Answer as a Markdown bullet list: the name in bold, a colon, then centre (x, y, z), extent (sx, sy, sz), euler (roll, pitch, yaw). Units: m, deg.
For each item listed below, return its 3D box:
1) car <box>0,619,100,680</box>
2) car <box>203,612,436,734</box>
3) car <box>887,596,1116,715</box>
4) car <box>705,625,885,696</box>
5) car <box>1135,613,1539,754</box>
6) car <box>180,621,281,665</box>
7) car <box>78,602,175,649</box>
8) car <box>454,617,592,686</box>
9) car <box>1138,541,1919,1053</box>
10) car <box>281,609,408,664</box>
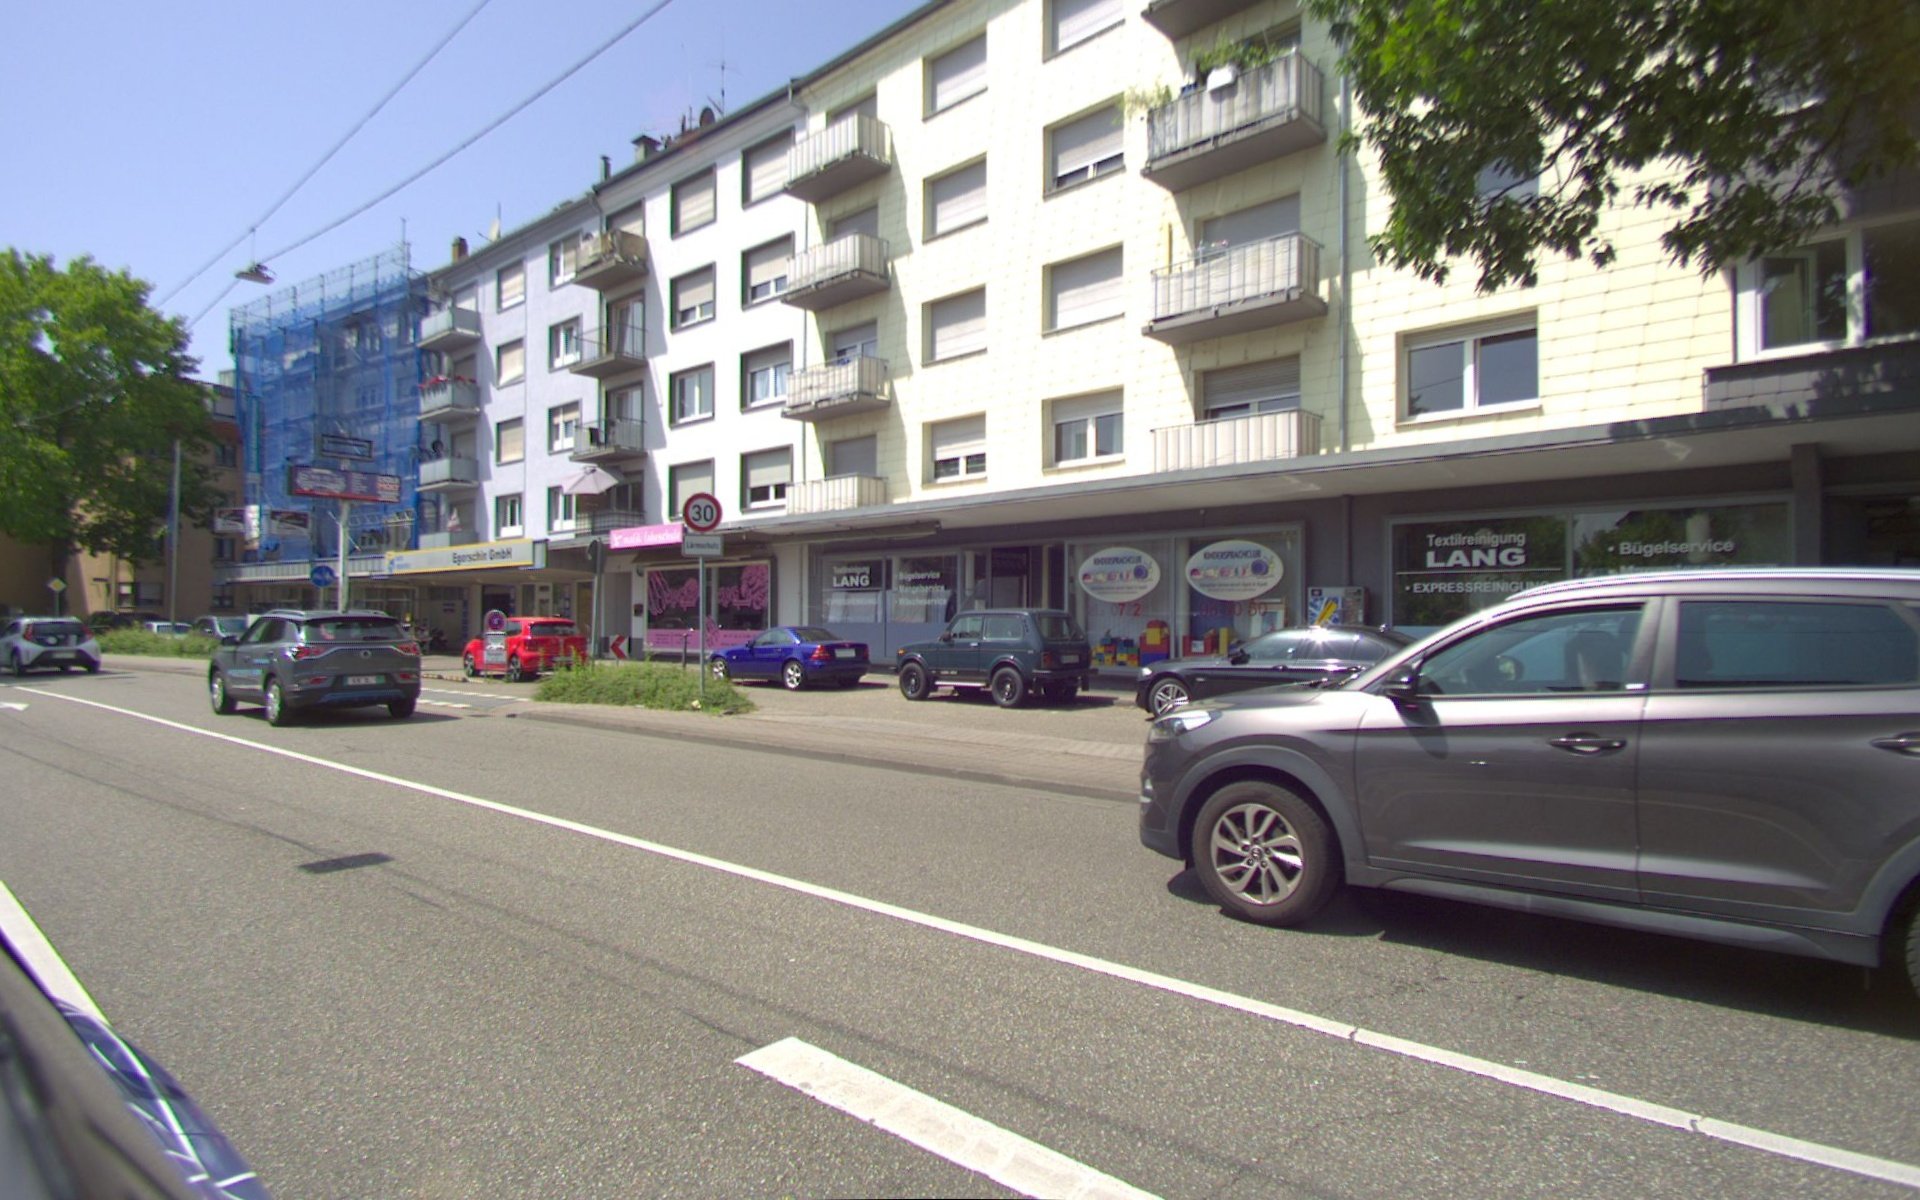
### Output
- **car**: centre (-24.299, 1.273, 26.716), extent (3.552, 1.482, 1.686), euler (-1, -1, 37)
- **car**: centre (-9.852, 1.000, 15.462), extent (3.997, 1.619, 1.904), euler (-1, -1, 40)
- **car**: centre (0.649, 0.904, 17.711), extent (3.858, 1.853, 1.622), euler (-1, -1, 41)
- **car**: centre (-3.533, 1.209, 21.287), extent (3.859, 1.296, 1.682), euler (-1, -1, 41)
- **car**: centre (4.857, 0.973, 13.580), extent (4.838, 1.581, 1.605), euler (-1, -1, 42)
- **car**: centre (-26.569, 1.533, 36.838), extent (4.329, 1.531, 1.889), euler (-1, -2, 39)
- **car**: centre (-34.475, 1.056, 41.843), extent (4.322, 1.819, 1.892), euler (-1, -2, 34)
- **car**: centre (-10.316, 1.159, 23.798), extent (3.634, 1.479, 1.617), euler (-1, -2, 42)
- **car**: centre (3.141, 0.673, 4.527), extent (4.222, 1.651, 1.960), euler (-1, -2, 40)
- **car**: centre (-18.521, 1.074, 30.381), extent (4.329, 1.531, 1.889), euler (-1, -2, 39)
